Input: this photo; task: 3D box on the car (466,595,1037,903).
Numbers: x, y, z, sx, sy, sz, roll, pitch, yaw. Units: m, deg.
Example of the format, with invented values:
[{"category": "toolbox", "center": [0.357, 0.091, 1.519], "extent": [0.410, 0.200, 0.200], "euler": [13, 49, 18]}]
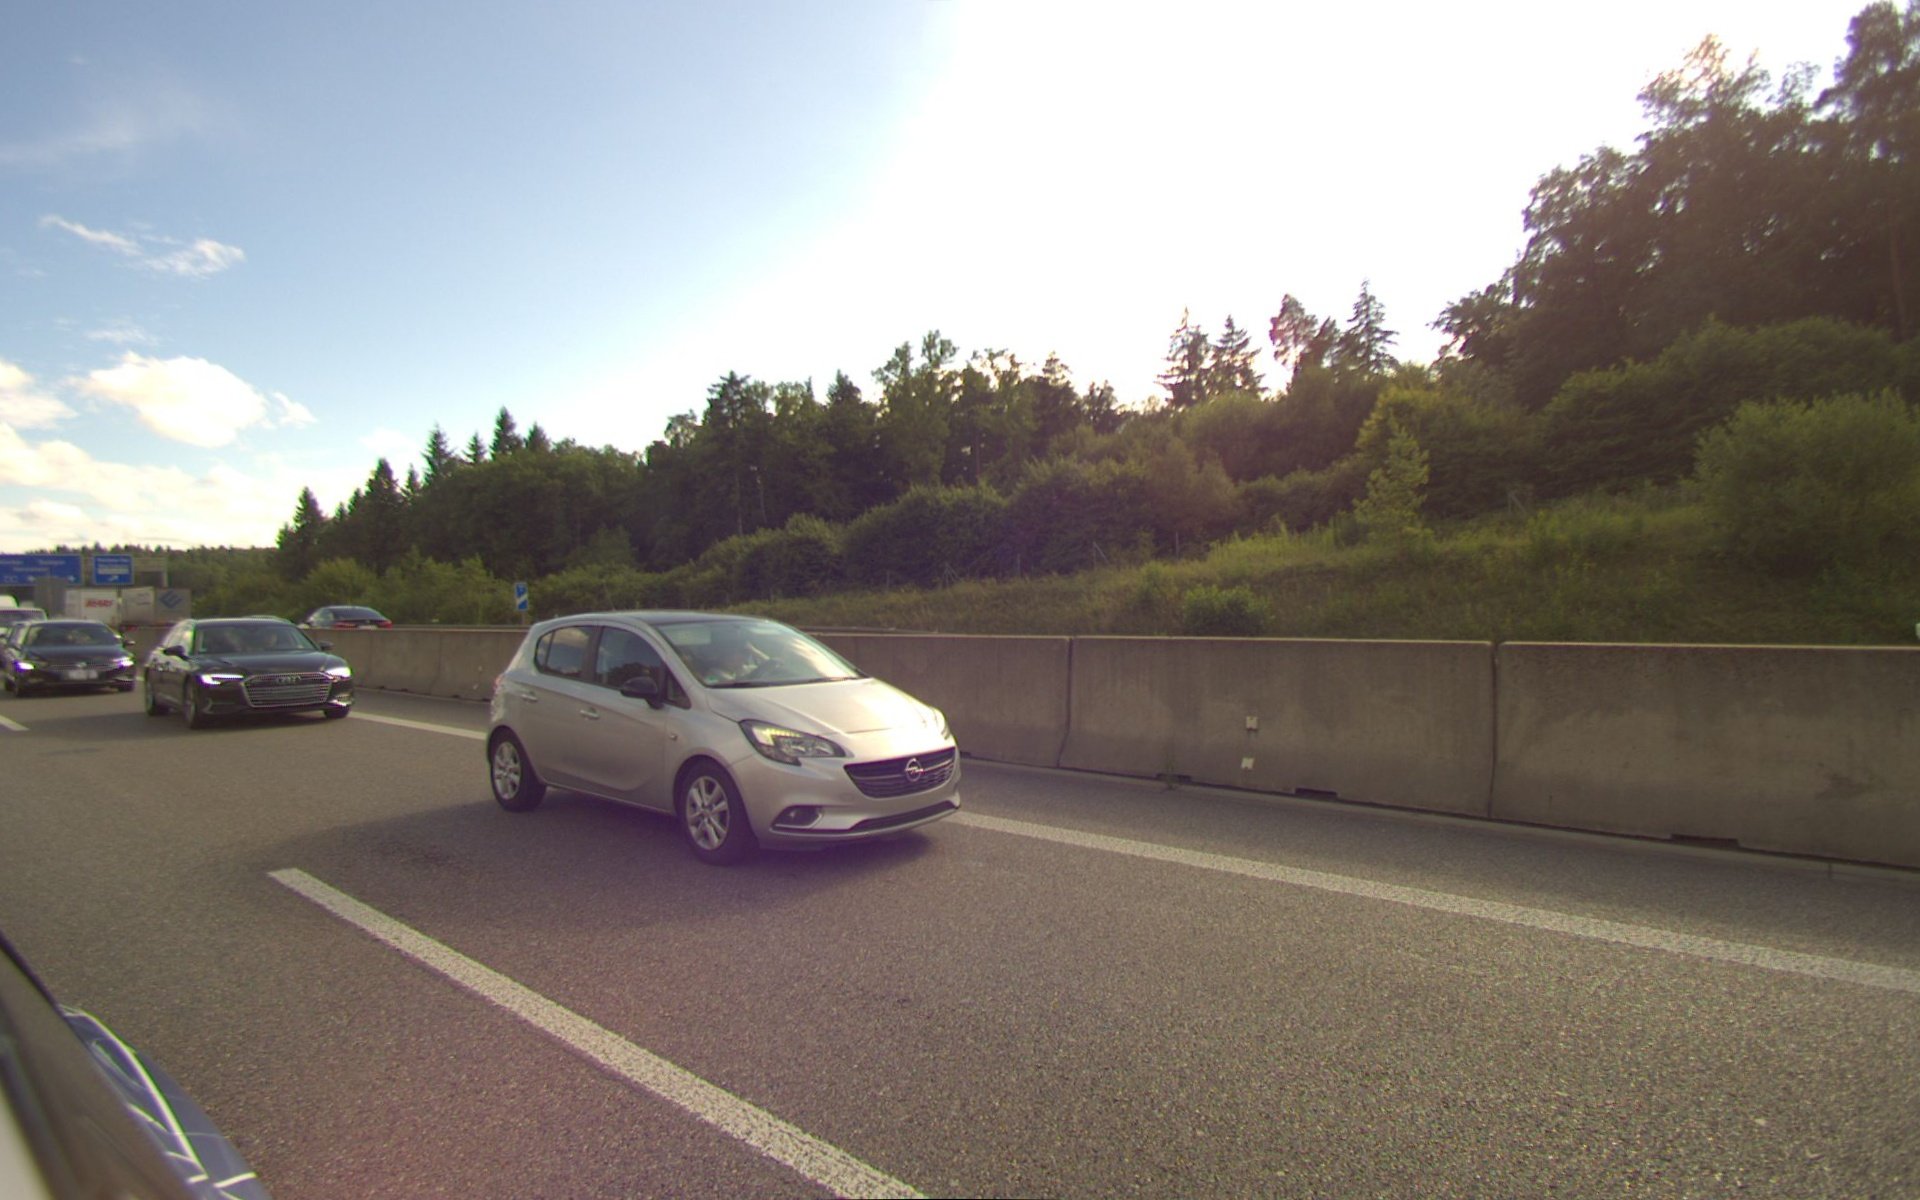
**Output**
[{"category": "car", "center": [-1.610, 0.769, 6.864], "extent": [4.039, 1.477, 1.728], "euler": [-2, -2, 41]}]

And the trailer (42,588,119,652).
[{"category": "trailer", "center": [-75.733, 1.643, 86.966], "extent": [13.827, 5.112, 3.056], "euler": [-1, 0, 41]}]

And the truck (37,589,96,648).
[{"category": "truck", "center": [-80.462, 1.617, 91.081], "extent": [7.138, 5.139, 3.056], "euler": [-1, 0, 41]}]

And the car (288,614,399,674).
[{"category": "car", "center": [-20.452, 1.420, 33.505], "extent": [4.622, 1.823, 1.833], "euler": [-1, -1, 41]}]

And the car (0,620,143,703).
[{"category": "car", "center": [-18.238, 1.174, 20.635], "extent": [4.569, 1.488, 1.890], "euler": [-1, -1, 44]}]

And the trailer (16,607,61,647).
[{"category": "trailer", "center": [-127.494, 3.630, 139.891], "extent": [13.828, 5.320, 3.010], "euler": [-1, 0, 41]}]

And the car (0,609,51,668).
[{"category": "car", "center": [-33.996, 1.344, 36.012], "extent": [4.846, 1.980, 1.922], "euler": [-1, -1, 42]}]

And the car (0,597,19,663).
[{"category": "car", "center": [-40.150, 1.228, 41.303], "extent": [5.859, 2.592, 2.027], "euler": [-1, -2, 42]}]

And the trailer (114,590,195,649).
[{"category": "trailer", "center": [-70.729, 1.653, 88.674], "extent": [14.646, 4.866, 2.896], "euler": [-1, 0, 41]}]

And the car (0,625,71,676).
[{"category": "car", "center": [-28.655, 1.505, 30.927], "extent": [3.992, 1.442, 1.785], "euler": [-1, -1, 42]}]

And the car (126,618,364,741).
[{"category": "car", "center": [-10.585, 1.038, 14.822], "extent": [4.851, 1.483, 1.862], "euler": [-1, -1, 42]}]

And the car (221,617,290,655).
[{"category": "car", "center": [-36.133, 1.804, 51.886], "extent": [4.622, 1.823, 1.833], "euler": [-1, -1, 41]}]
